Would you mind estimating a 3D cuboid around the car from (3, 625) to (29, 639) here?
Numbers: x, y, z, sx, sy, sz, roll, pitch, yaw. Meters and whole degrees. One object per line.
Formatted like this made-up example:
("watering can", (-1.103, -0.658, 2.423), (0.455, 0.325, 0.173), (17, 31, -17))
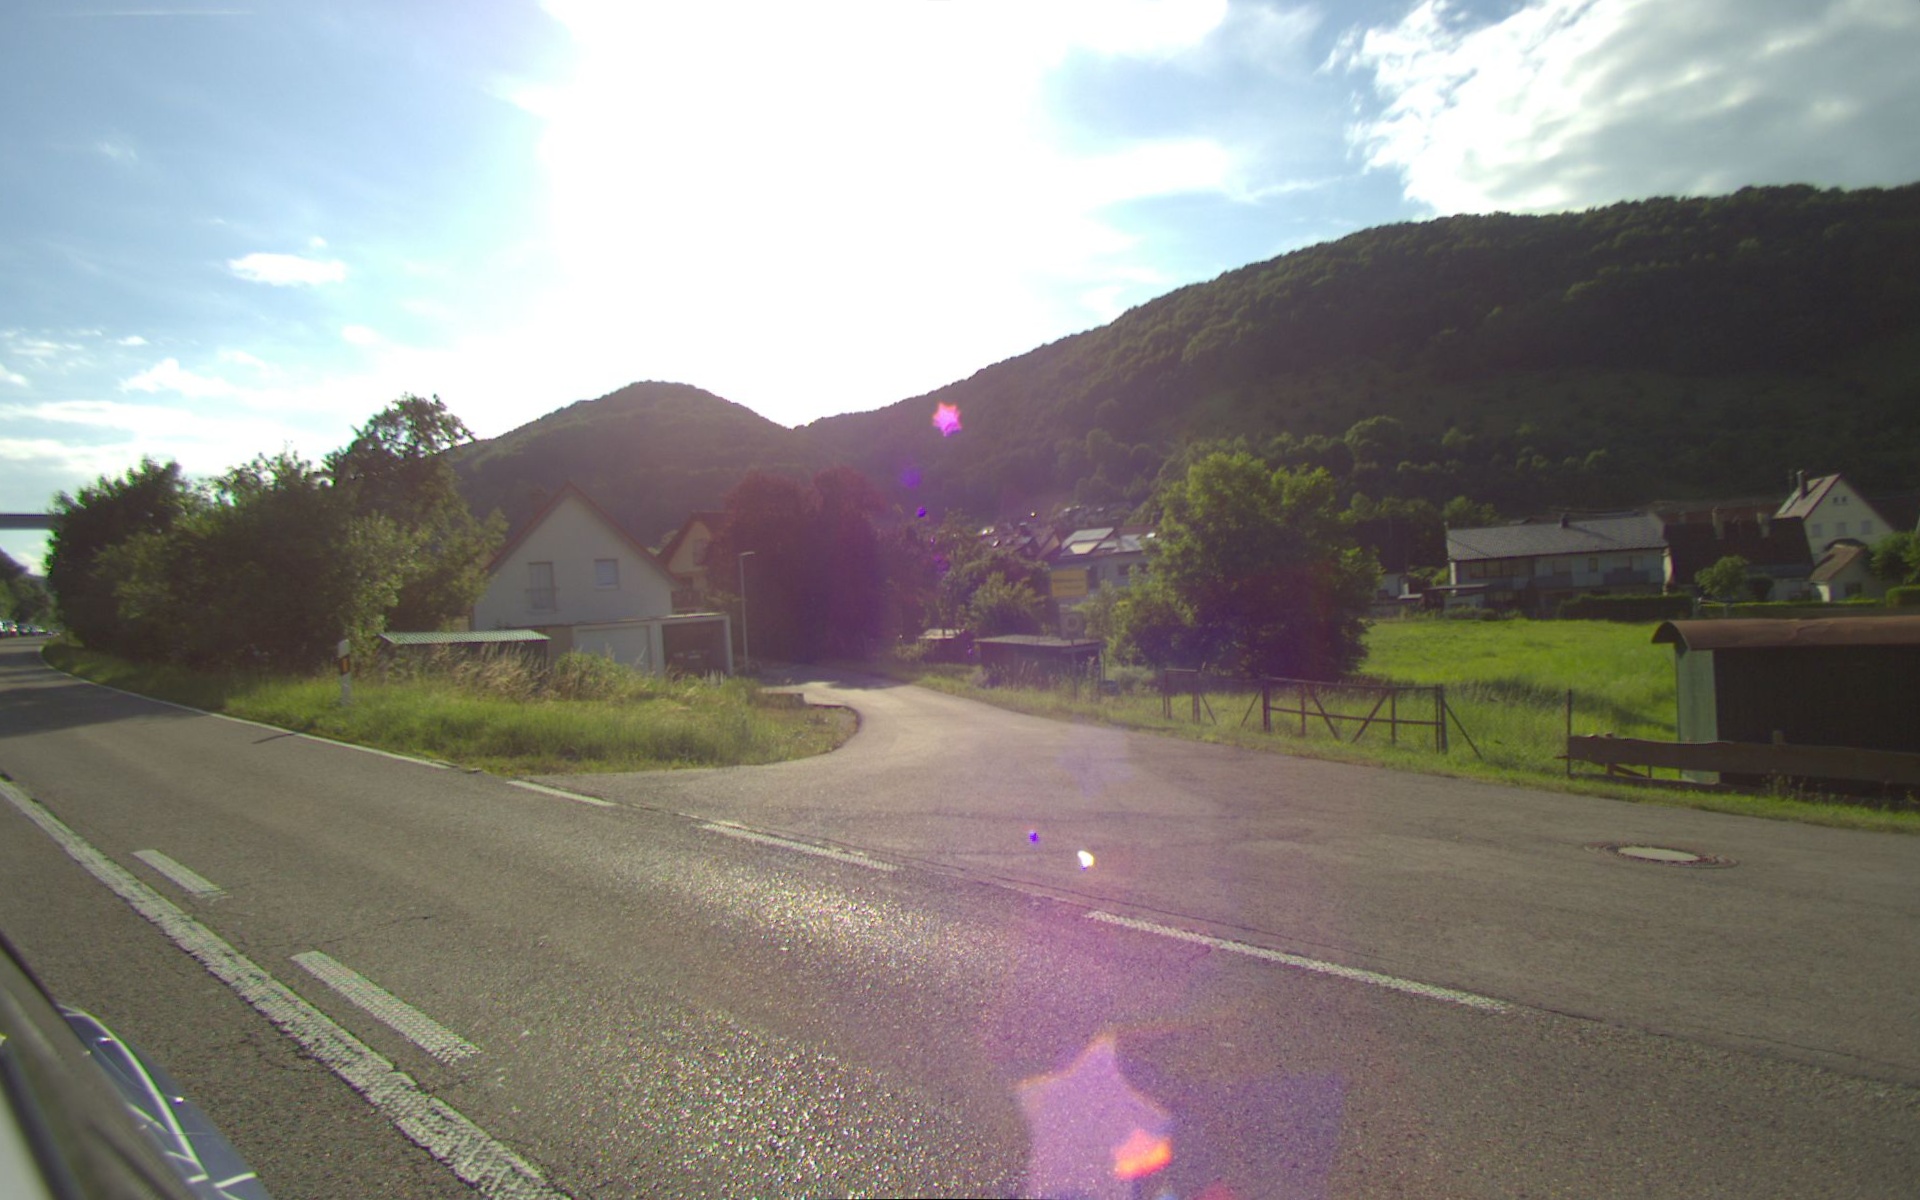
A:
("car", (-114.625, 3.860, 122.879), (1.813, 1.564, 4.187), (1, -1, -37))
